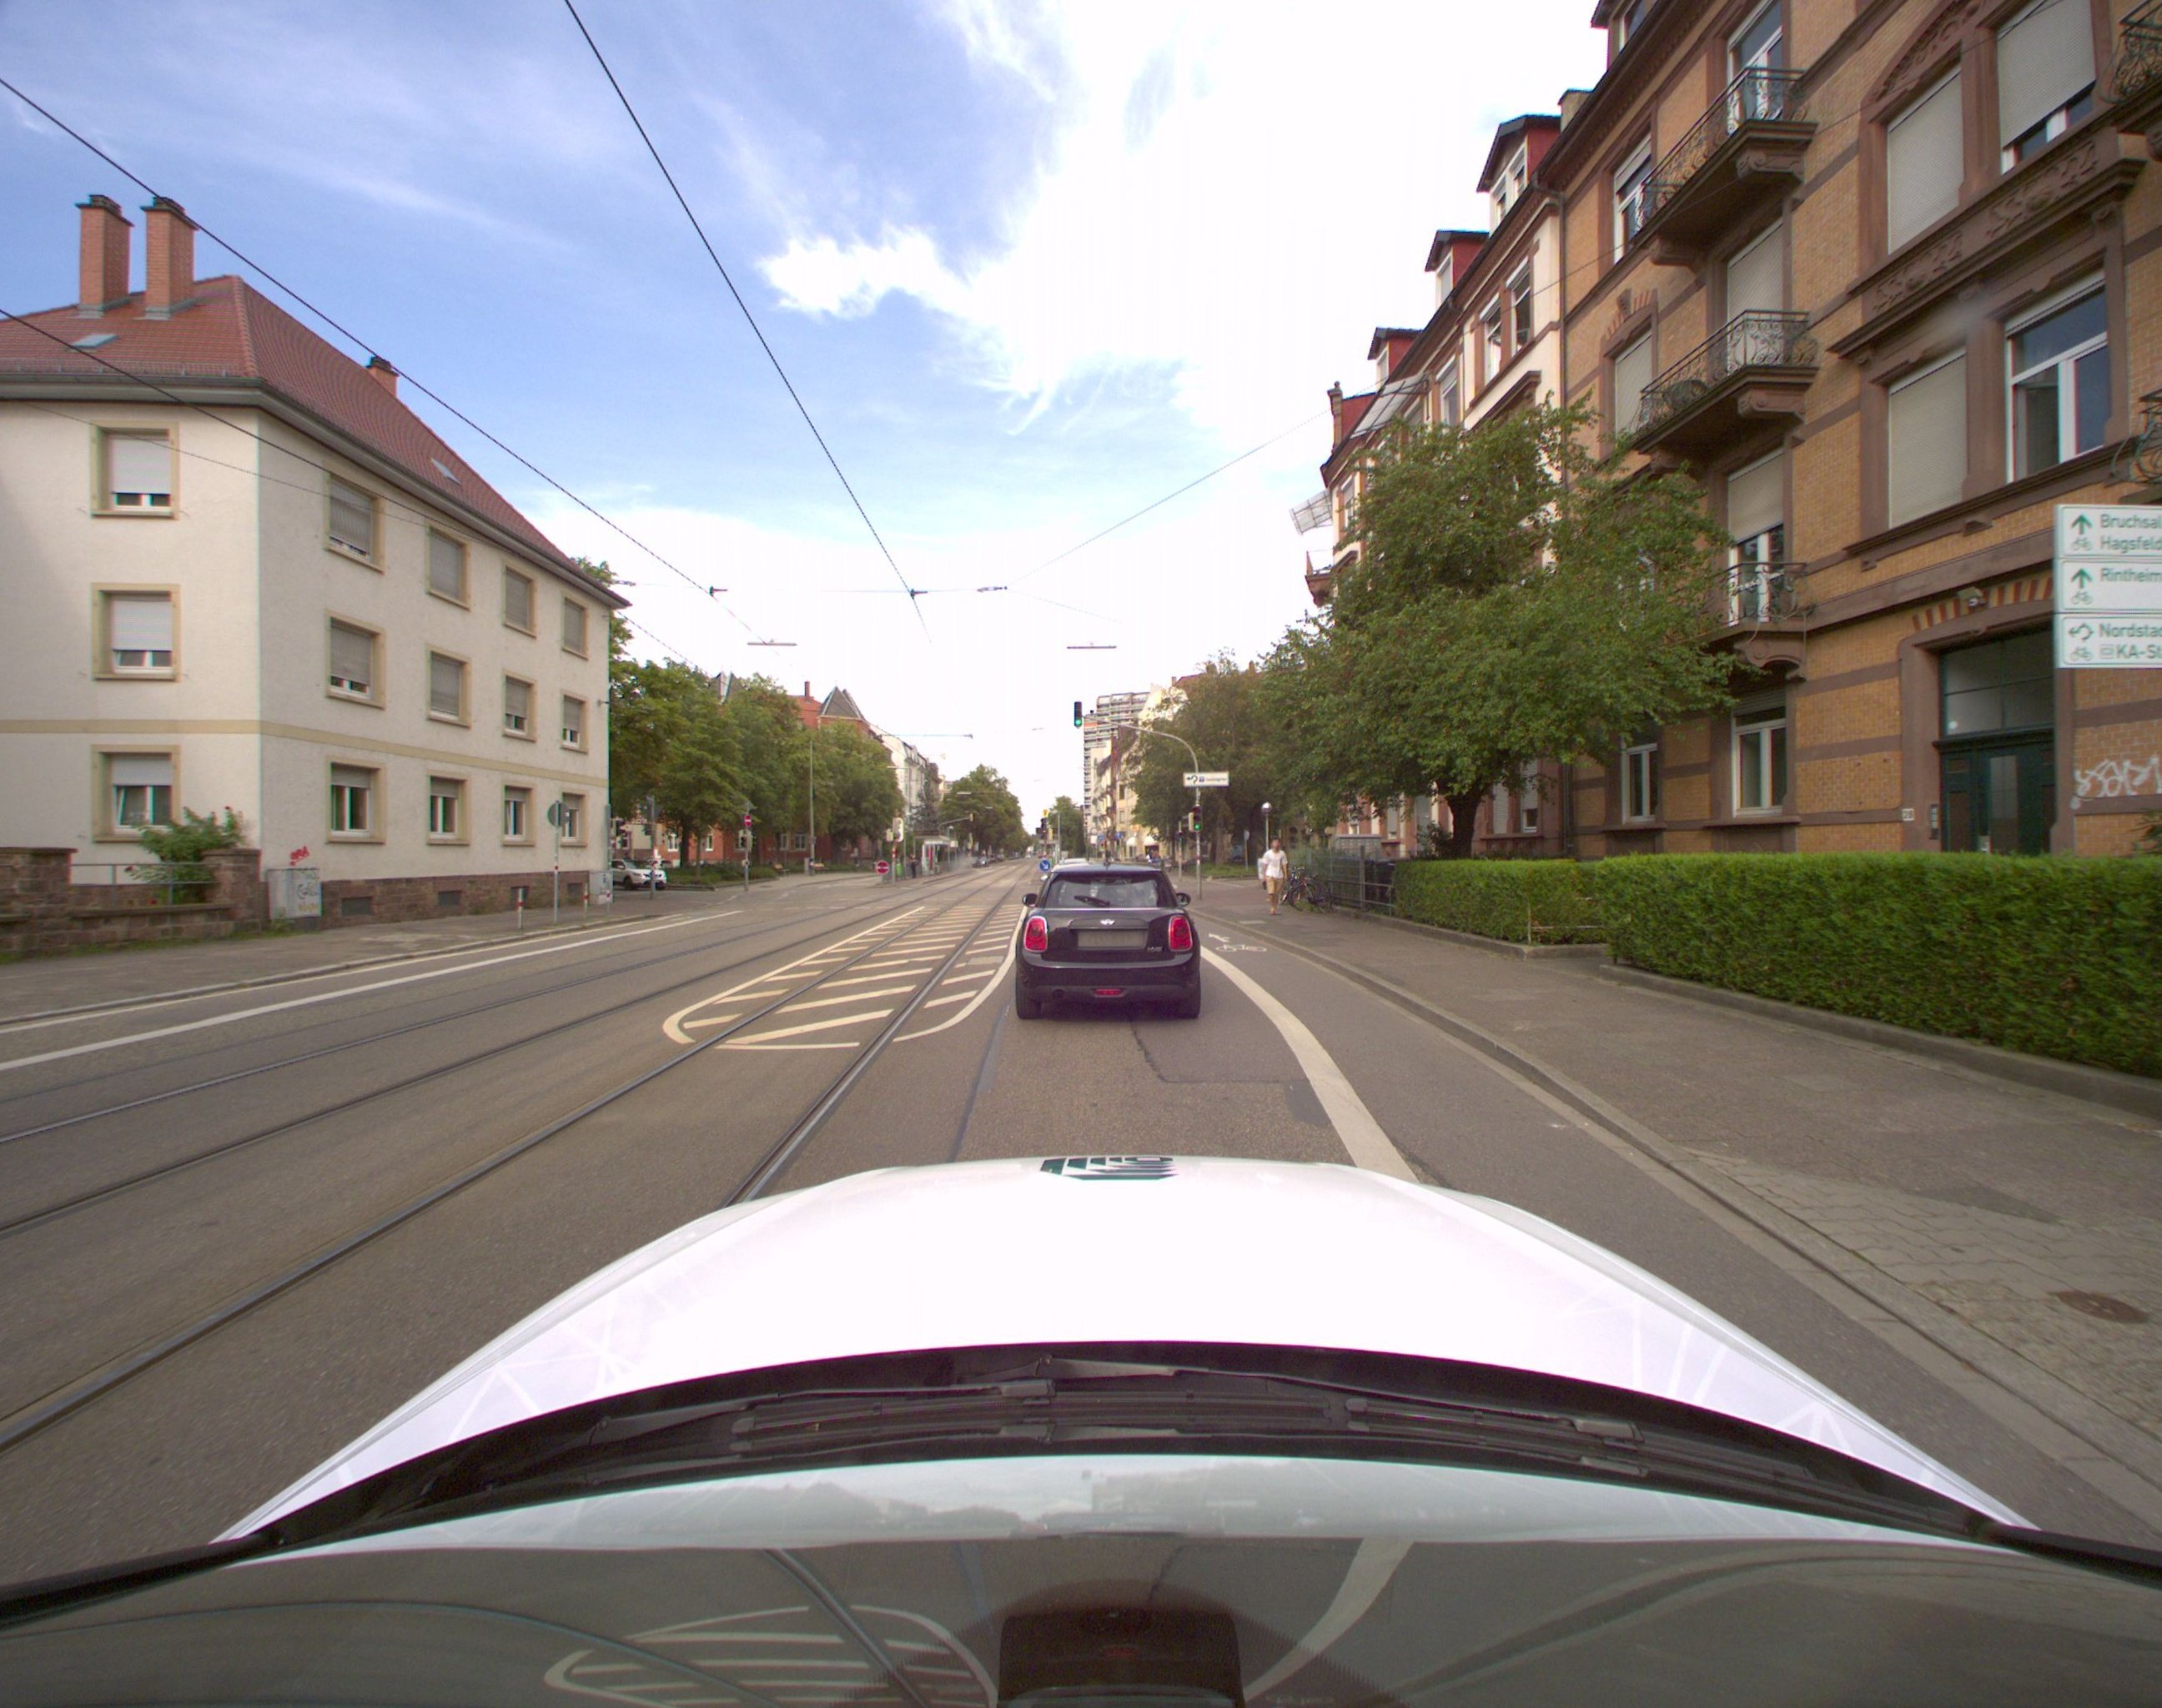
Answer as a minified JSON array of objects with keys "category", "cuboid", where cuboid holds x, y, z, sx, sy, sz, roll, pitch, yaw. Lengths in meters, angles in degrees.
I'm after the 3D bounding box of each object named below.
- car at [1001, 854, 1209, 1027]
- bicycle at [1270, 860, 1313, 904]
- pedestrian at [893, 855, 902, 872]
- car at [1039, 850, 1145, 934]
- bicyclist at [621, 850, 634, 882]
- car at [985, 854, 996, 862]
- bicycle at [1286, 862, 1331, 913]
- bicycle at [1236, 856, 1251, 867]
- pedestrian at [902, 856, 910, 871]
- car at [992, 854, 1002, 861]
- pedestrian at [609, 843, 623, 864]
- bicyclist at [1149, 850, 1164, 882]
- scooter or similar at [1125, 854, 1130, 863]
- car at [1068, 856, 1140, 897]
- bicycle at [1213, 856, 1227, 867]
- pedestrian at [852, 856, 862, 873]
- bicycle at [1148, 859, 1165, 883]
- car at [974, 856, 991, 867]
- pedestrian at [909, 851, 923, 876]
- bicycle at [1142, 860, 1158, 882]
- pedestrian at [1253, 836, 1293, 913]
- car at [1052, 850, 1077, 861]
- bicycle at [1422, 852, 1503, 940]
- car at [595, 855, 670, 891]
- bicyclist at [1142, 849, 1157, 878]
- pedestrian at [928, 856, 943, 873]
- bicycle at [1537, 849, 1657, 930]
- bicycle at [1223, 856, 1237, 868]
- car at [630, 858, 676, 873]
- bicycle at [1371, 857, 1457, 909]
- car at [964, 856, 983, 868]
[{"category":"car","cuboid":[0.248,0.736,8.925,1.745,1.441,4.001,-1,0,1]},{"category":"bicycle","cuboid":[5.596,0.731,21.728,0.669,1.106,1.671,-1,0,-2]},{"category":"pedestrian","cuboid":[-19.506,0.999,86.753,0.832,1.703,0.731,-1,0,-8]},{"category":"car","cuboid":[0.215,0.690,16.856,1.920,1.510,4.000,-1,0,0]},{"category":"bicyclist","cuboid":[-25.785,0.673,46.342,0.614,1.775,0.902,-1,0,-30]},{"category":"car","cuboid":[-18.824,0.774,169.581,1.988,1.552,3.997,-1,0,-2]},{"category":"bicycle","cuboid":[5.281,0.764,18.989,0.507,1.088,1.549,-4,0,-2]},{"category":"bicycle","cuboid":[16.164,0.741,81.140,0.659,1.128,1.906,-1,0,39]},{"category":"pedestrian","cuboid":[-19.315,1.050,90.122,0.692,1.719,0.758,-1,0,-1]},{"category":"car","cuboid":[-19.797,0.875,192.510,1.988,1.552,3.997,-1,0,-2]},{"category":"pedestrian","cuboid":[-39.563,-0.046,69.287,0.745,1.754,0.736,-1,0,16]},{"category":"bicyclist","cuboid":[3.793,0.600,41.016,0.593,1.550,1.013,-1,0,-2]},{"category":"scooter or similar","cuboid":[6.050,0.588,104.997,0.507,1.188,1.260,-1,0,-2]},{"category":"car","cuboid":[0.980,0.820,31.545,1.738,1.441,4.498,-1,0,16]},{"category":"bicycle","cuboid":[14.140,0.786,83.047,0.526,1.128,1.906,-1,0,39]},{"category":"pedestrian","cuboid":[-22.635,1.078,82.352,0.832,1.703,0.731,-1,0,-8]},{"category":"bicycle","cuboid":[3.800,0.858,41.022,0.597,1.170,1.695,-1,0,-2]},{"category":"car","cuboid":[-12.958,0.971,107.592,1.746,1.441,3.998,1,0,-1]},{"category":"pedestrian","cuboid":[-10.697,0.625,52.801,0.851,1.621,0.841,-1,0,-8]},{"category":"bicycle","cuboid":[3.731,0.904,44.279,0.682,1.170,1.696,-1,0,0]},{"category":"pedestrian","cuboid":[4.503,0.467,19.152,0.727,1.754,0.950,-1,0,2]},{"category":"car","cuboid":[-3.606,0.305,175.830,5.067,2.272,2.368,-1,0,-43]},{"category":"bicycle","cuboid":[5.902,0.610,12.692,0.514,1.282,1.550,-1,0,0]},{"category":"car","cuboid":[-23.148,1.002,41.962,4.105,1.721,1.852,-3,-3,37]},{"category":"bicyclist","cuboid":[3.724,0.521,44.223,0.682,1.564,0.998,-1,0,-1]},{"category":"pedestrian","cuboid":[-10.845,0.784,60.771,1.058,1.294,0.983,-1,0,-8]},{"category":"bicycle","cuboid":[7.854,0.528,12.414,1.542,1.181,0.517,-1,0,-5]},{"category":"bicycle","cuboid":[15.074,0.824,82.304,0.526,1.128,1.906,-1,0,39]},{"category":"car","cuboid":[-42.415,1.142,80.715,3.953,1.478,1.825,-1,0,20]},{"category":"bicycle","cuboid":[6.692,0.571,16.381,1.542,1.008,0.509,-1,0,-5]},{"category":"car","cuboid":[-12.926,0.942,97.941,1.746,1.441,3.998,1,0,-1]}]
